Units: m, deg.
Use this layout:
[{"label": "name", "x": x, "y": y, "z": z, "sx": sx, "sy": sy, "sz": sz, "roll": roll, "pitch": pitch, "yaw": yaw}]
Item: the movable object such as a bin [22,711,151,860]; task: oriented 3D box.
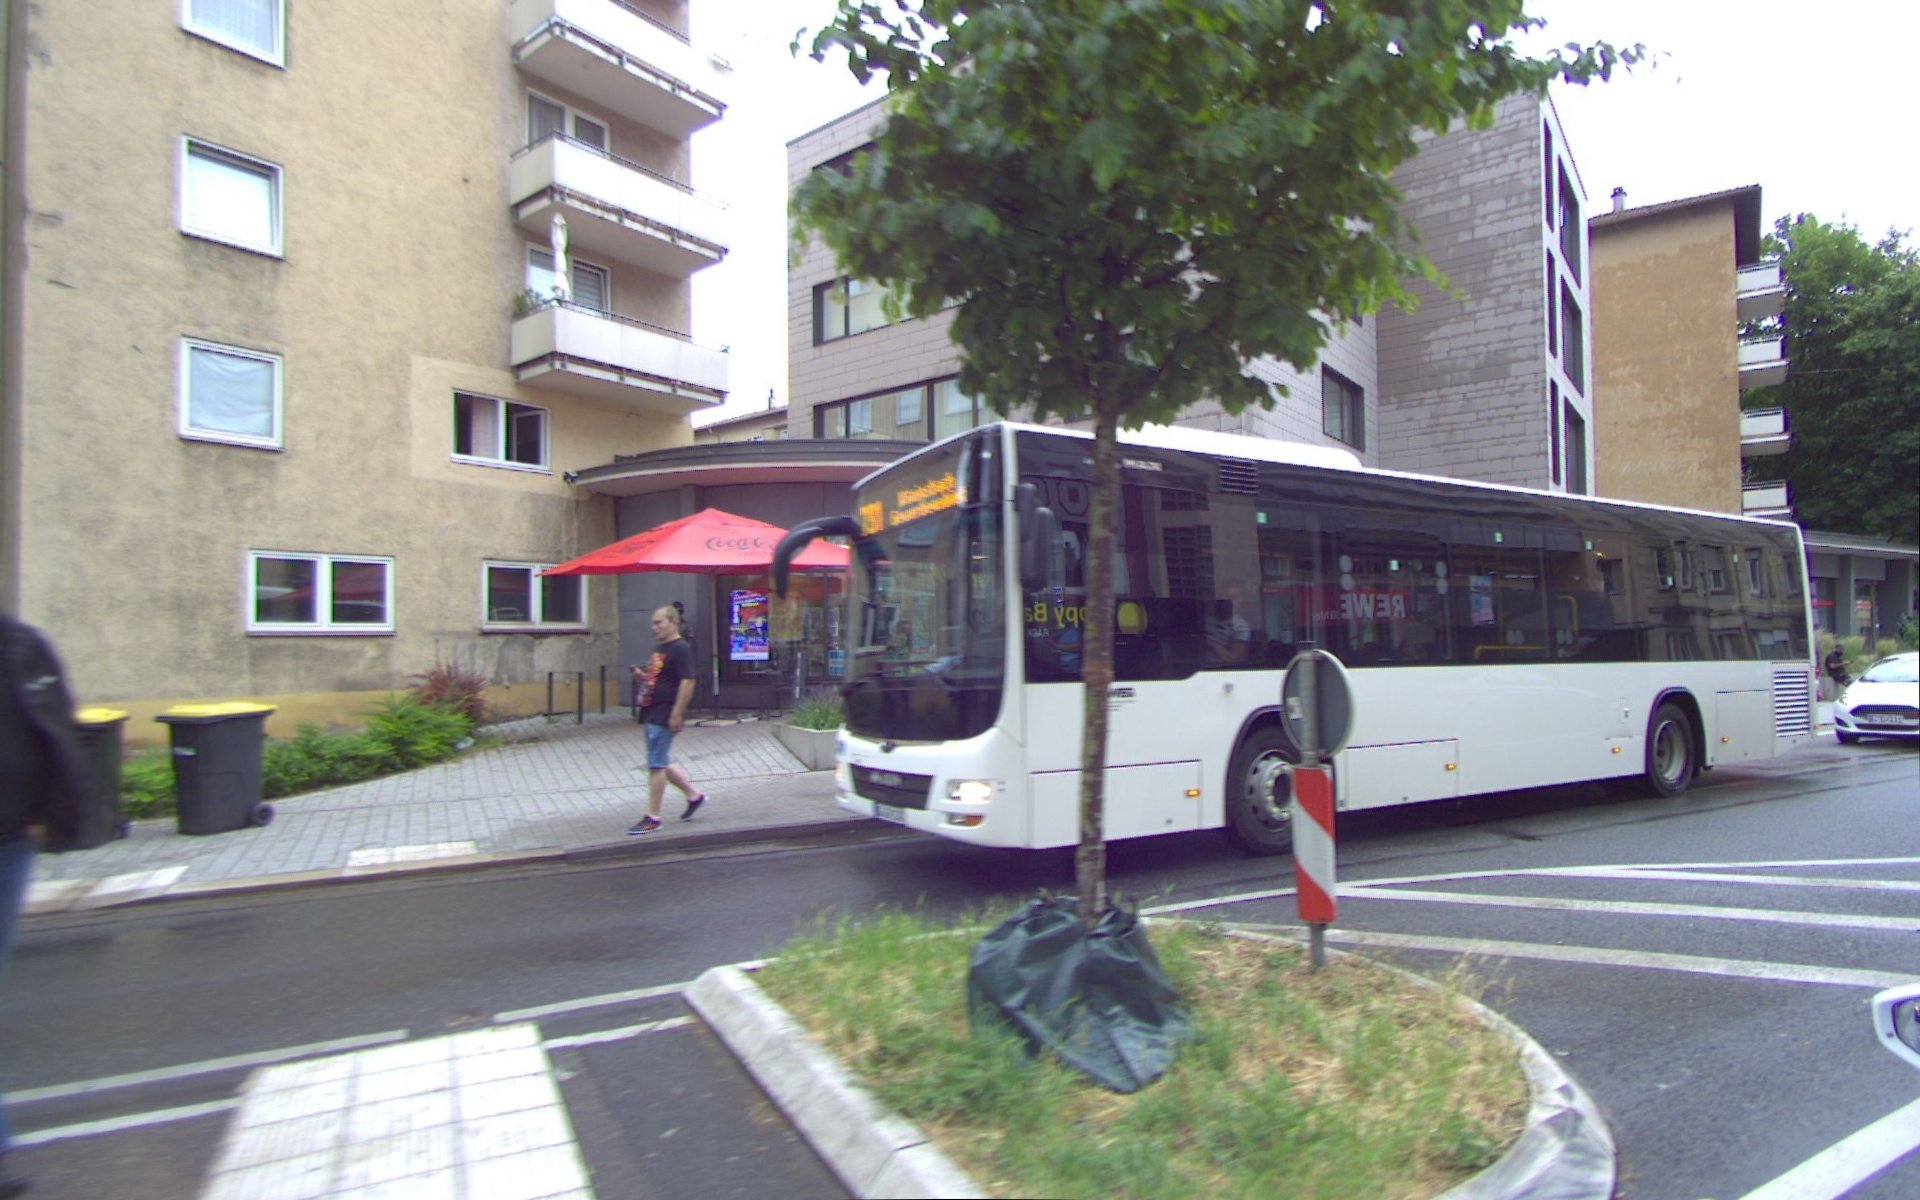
[{"label": "movable object such as a bin", "x": -7.041, "y": 1.468, "z": 8.131, "sx": 0.571, "sy": 1.072, "sz": 0.738, "roll": 2, "pitch": -2, "yaw": -25}]

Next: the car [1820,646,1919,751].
[{"label": "car", "x": 15.580, "y": 1.513, "z": 16.058, "sx": 3.760, "sy": 1.483, "sz": 1.608, "roll": 1, "pitch": -2, "yaw": -30}]

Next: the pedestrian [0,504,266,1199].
[{"label": "pedestrian", "x": -2.645, "y": 0.700, "z": 2.713, "sx": 1.044, "sy": 1.771, "sz": 0.853, "roll": -4, "pitch": -5, "yaw": 26}]

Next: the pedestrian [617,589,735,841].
[{"label": "pedestrian", "x": -2.446, "y": 0.949, "z": 8.641, "sx": 0.774, "sy": 2.040, "sz": 0.697, "roll": 2, "pitch": -2, "yaw": -33}]

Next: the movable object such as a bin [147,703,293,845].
[{"label": "movable object such as a bin", "x": -6.384, "y": 1.463, "z": 8.680, "sx": 0.730, "sy": 1.072, "sz": 0.810, "roll": -1, "pitch": -2, "yaw": 36}]

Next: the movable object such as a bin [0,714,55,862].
[{"label": "movable object such as a bin", "x": -7.615, "y": 1.466, "z": 7.911, "sx": 0.573, "sy": 1.072, "sz": 0.736, "roll": 2, "pitch": -2, "yaw": -33}]

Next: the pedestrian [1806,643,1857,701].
[{"label": "pedestrian", "x": 21.752, "y": 1.784, "z": 25.082, "sx": 0.710, "sy": 1.439, "sz": 0.592, "roll": 0, "pitch": -2, "yaw": 6}]

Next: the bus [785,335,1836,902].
[{"label": "bus", "x": 4.353, "y": 0.411, "z": 10.019, "sx": 11.823, "sy": 3.286, "sz": 2.794, "roll": 2, "pitch": -7, "yaw": -31}]

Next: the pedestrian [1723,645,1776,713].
[{"label": "pedestrian", "x": 20.288, "y": 2.018, "z": 25.819, "sx": 0.784, "sy": 1.700, "sz": 0.713, "roll": 0, "pitch": -2, "yaw": -1}]

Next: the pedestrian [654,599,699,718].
[{"label": "pedestrian", "x": -4.793, "y": 0.968, "z": 16.973, "sx": 0.606, "sy": 1.952, "sz": 0.575, "roll": -3, "pitch": 2, "yaw": -17}]
